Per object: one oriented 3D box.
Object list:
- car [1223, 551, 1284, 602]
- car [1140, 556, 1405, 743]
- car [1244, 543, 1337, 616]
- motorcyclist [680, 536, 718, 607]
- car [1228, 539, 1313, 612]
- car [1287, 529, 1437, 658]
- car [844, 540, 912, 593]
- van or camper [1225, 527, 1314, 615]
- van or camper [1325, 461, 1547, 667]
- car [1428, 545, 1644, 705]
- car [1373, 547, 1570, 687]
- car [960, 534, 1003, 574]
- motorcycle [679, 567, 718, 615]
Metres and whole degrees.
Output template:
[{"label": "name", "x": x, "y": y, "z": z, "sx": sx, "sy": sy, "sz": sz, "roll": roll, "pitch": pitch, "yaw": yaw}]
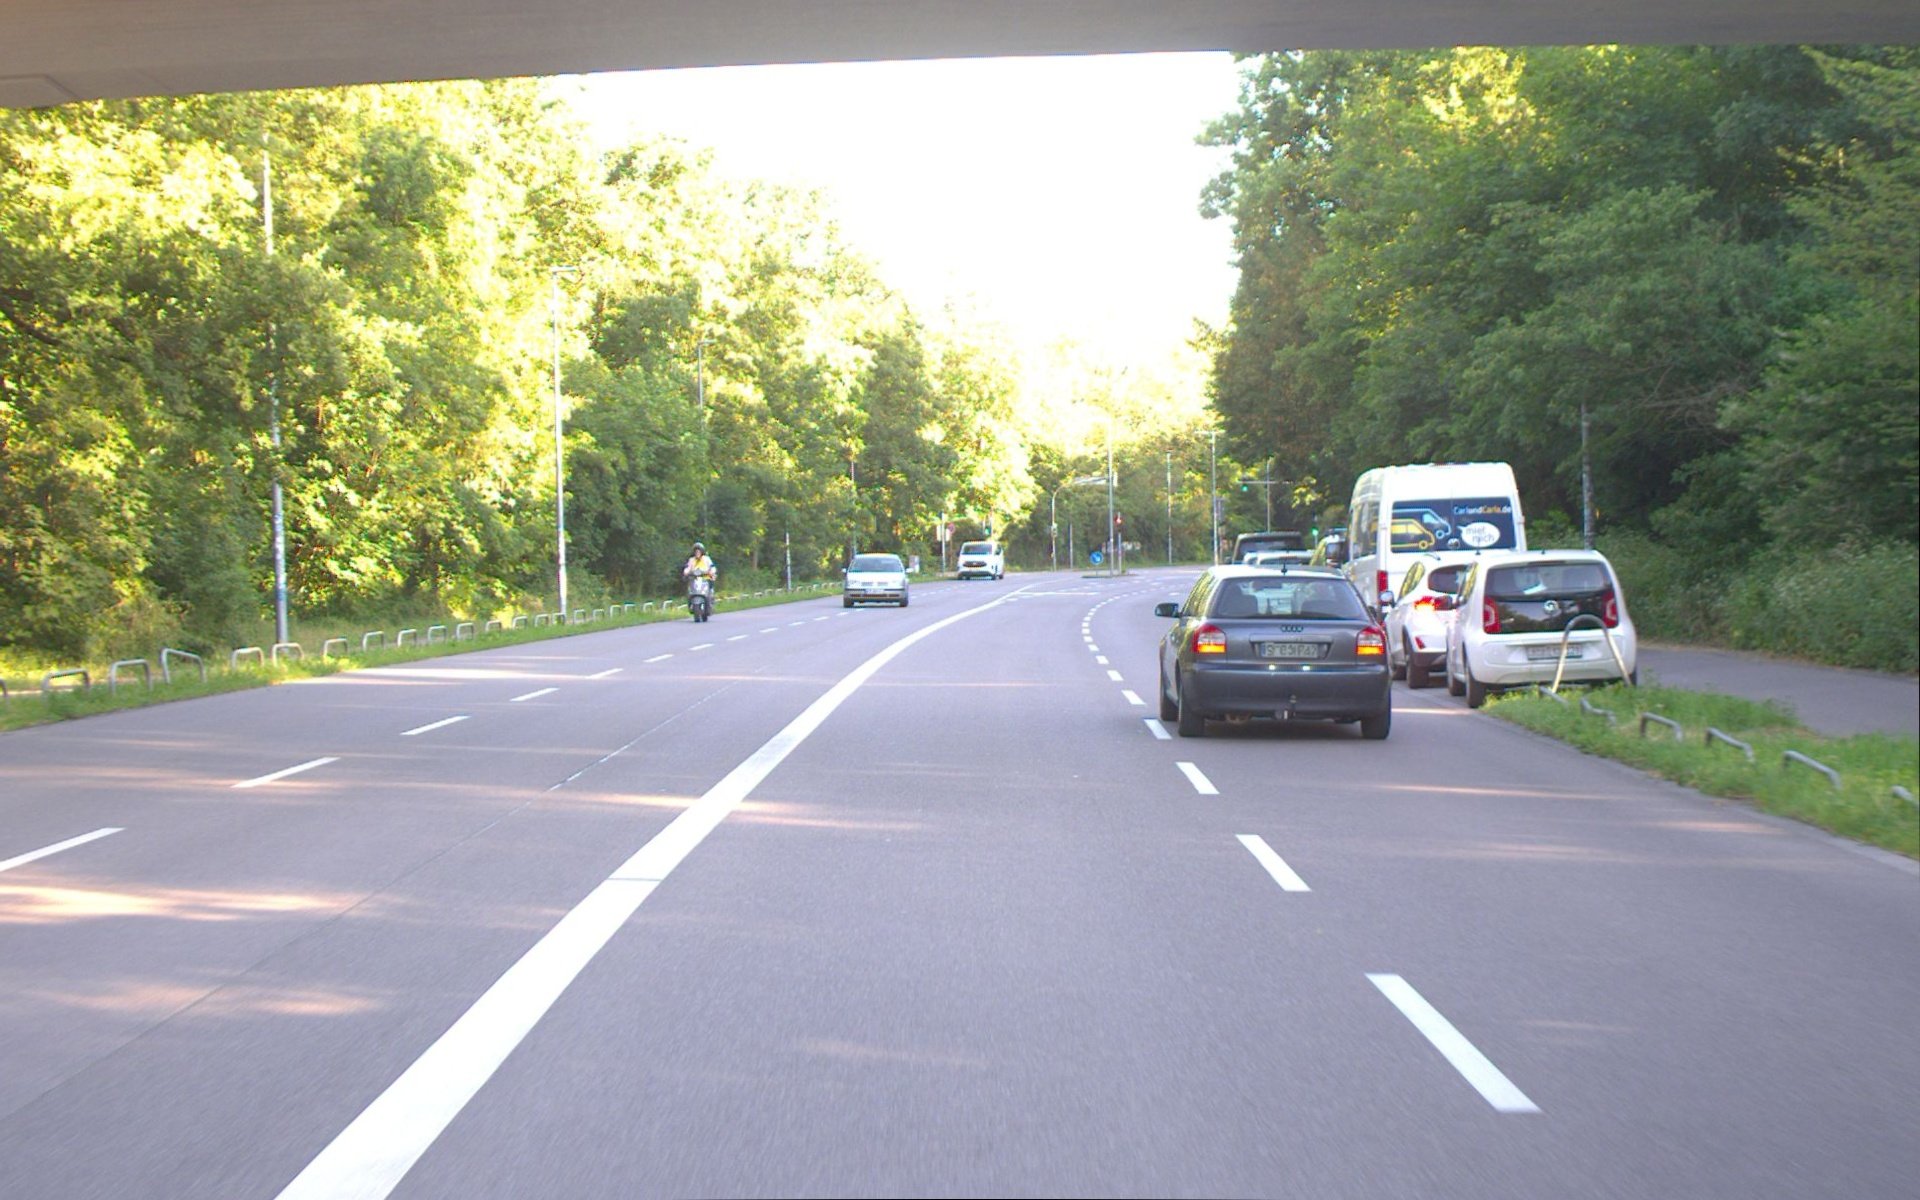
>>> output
[{"label": "car", "x": 8.855, "y": -0.737, "z": 103.992, "sx": 1.728, "sy": 1.436, "sz": 4.666, "roll": -2, "pitch": 1, "yaw": 5}, {"label": "car", "x": 2.534, "y": 0.358, "z": 28.754, "sx": 1.727, "sy": 1.436, "sz": 4.090, "roll": 0, "pitch": 1, "yaw": -2}, {"label": "car", "x": 6.749, "y": -0.448, "z": 70.498, "sx": 1.728, "sy": 1.436, "sz": 4.100, "roll": 0, "pitch": 1, "yaw": 3}, {"label": "motorcyclist", "x": -5.559, "y": -0.605, "z": 73.239, "sx": 0.724, "sy": 1.500, "sz": 0.672, "roll": 0, "pitch": 0, "yaw": 1}, {"label": "car", "x": 6.820, "y": -0.560, "z": 75.860, "sx": 1.728, "sy": 1.538, "sz": 4.217, "roll": 0, "pitch": 1, "yaw": 3}, {"label": "car", "x": 6.101, "y": -0.135, "z": 52.628, "sx": 1.829, "sy": 1.861, "sz": 5.074, "roll": -1, "pitch": 1, "yaw": 2}, {"label": "car", "x": -2.193, "y": -0.925, "z": 92.997, "sx": 1.681, "sy": 1.402, "sz": 3.890, "roll": 0, "pitch": 1, "yaw": 1}, {"label": "van or camper", "x": 7.328, "y": -0.717, "z": 81.702, "sx": 1.893, "sy": 1.942, "sz": 5.133, "roll": -3, "pitch": 1, "yaw": 4}, {"label": "van or camper", "x": 6.179, "y": -0.498, "z": 45.297, "sx": 2.119, "sy": 2.509, "sz": 5.980, "roll": -1, "pitch": 1, "yaw": 1}, {"label": "car", "x": 5.670, "y": 0.208, "z": 34.186, "sx": 1.723, "sy": 1.491, "sz": 3.774, "roll": 0, "pitch": 1, "yaw": 4}, {"label": "car", "x": 5.748, "y": 0.150, "z": 39.017, "sx": 1.723, "sy": 1.491, "sz": 4.145, "roll": 0, "pitch": 1, "yaw": 2}, {"label": "car", "x": 1.119, "y": -2.377, "z": 177.507, "sx": 1.994, "sy": 1.985, "sz": 4.997, "roll": 0, "pitch": 1, "yaw": 3}, {"label": "motorcycle", "x": -5.566, "y": -0.194, "z": 73.385, "sx": 0.636, "sy": 0.992, "sz": 2.077, "roll": 0, "pitch": 1, "yaw": 1}]
